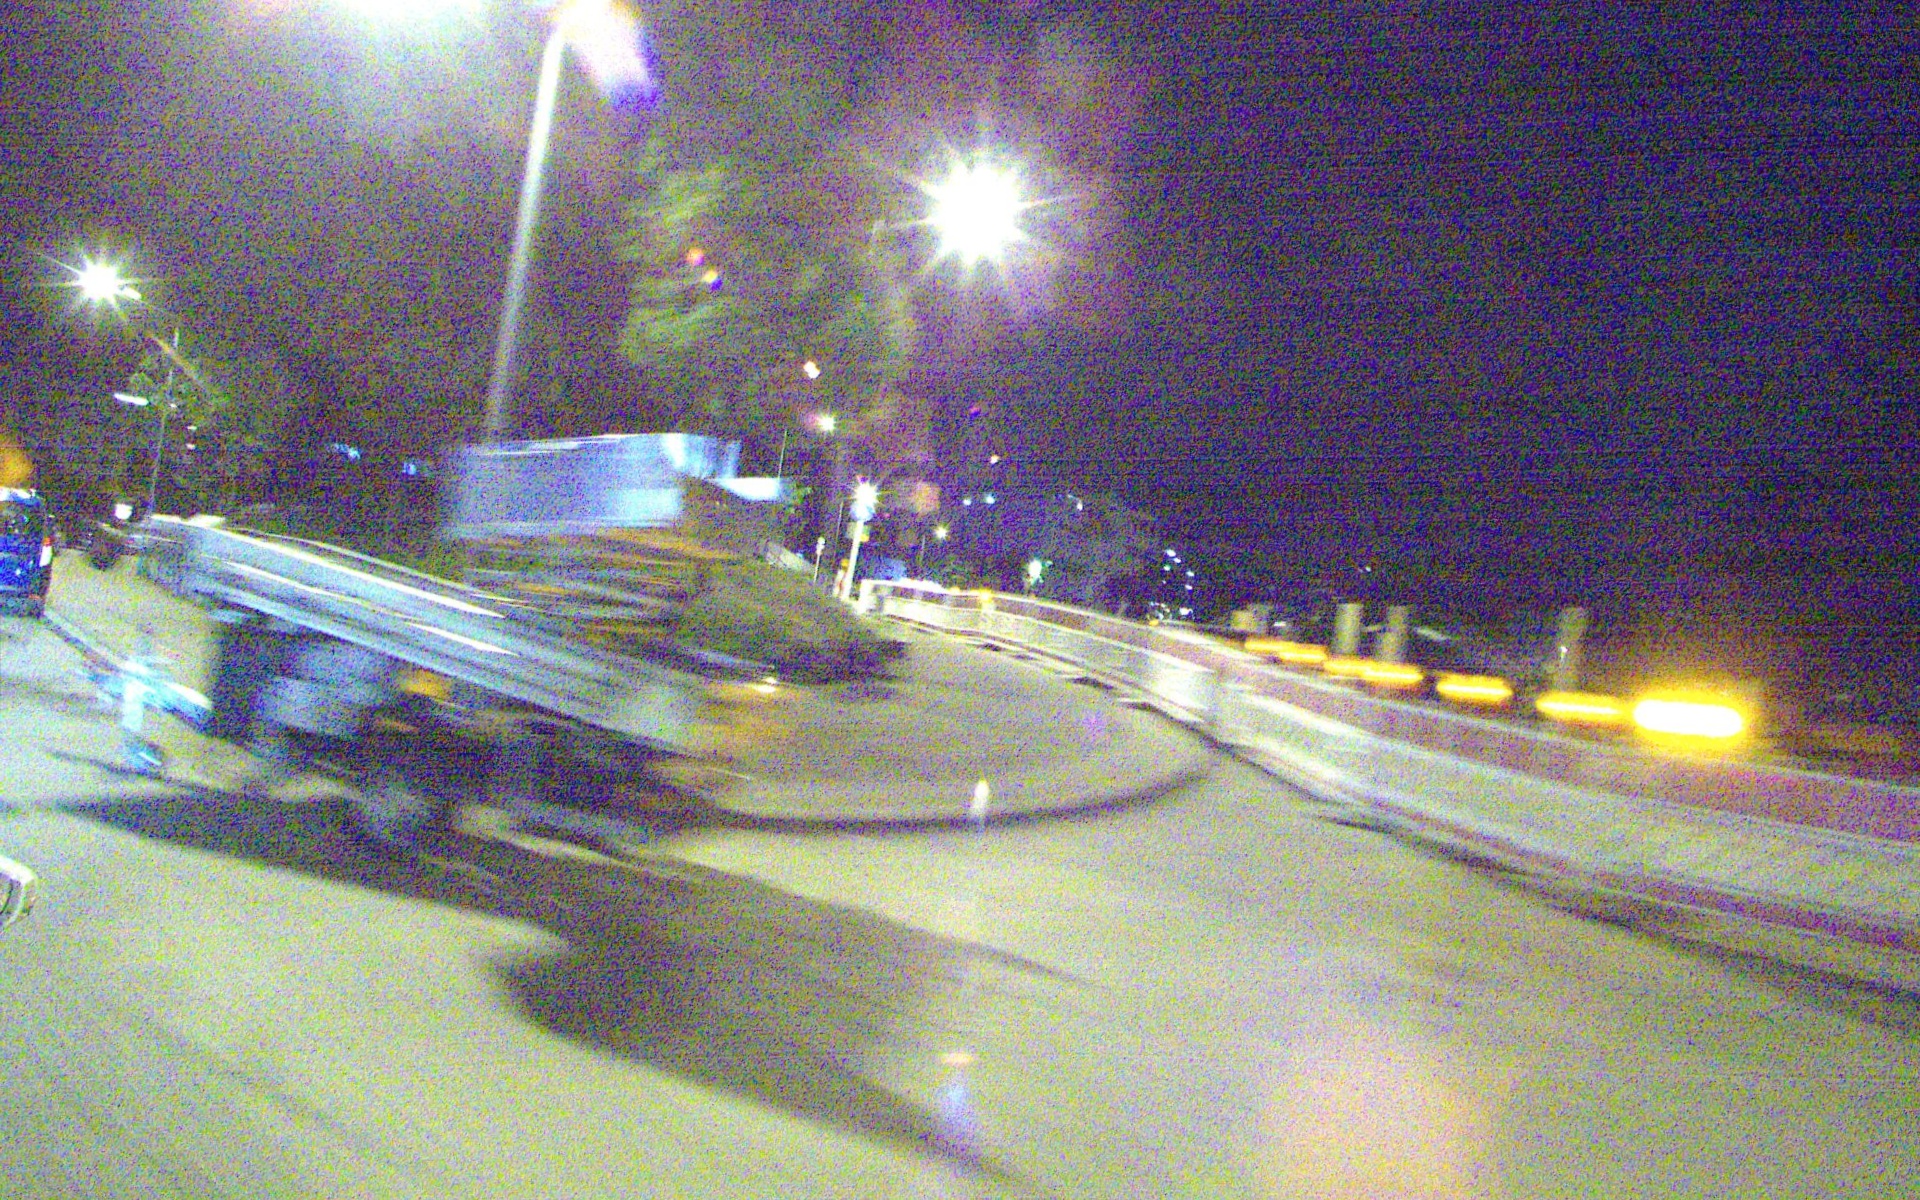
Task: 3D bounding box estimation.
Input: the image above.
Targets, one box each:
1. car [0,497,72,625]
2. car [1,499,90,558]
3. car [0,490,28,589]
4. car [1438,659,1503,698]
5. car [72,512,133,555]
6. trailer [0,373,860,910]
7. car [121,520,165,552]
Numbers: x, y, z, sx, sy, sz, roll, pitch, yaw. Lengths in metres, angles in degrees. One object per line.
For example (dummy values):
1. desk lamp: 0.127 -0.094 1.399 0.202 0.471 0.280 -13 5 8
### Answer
1. car: -14.784 -0.742 14.957 3.944 1.679 1.720 6 -3 41
2. car: -34.785 -2.662 38.371 1.711 1.841 3.965 10 -3 -34
3. car: -20.169 -1.392 20.083 3.944 1.841 1.720 6 -3 41
4. car: 24.123 3.734 47.484 1.969 1.437 3.989 9 0 36
5. car: -43.574 -3.330 51.202 1.711 1.841 3.965 10 -3 -34
6. trailer: -3.391 0.081 5.998 5.122 2.187 1.565 7 0 13
7. car: -54.678 -4.250 67.375 1.711 1.841 3.965 10 -3 -34
